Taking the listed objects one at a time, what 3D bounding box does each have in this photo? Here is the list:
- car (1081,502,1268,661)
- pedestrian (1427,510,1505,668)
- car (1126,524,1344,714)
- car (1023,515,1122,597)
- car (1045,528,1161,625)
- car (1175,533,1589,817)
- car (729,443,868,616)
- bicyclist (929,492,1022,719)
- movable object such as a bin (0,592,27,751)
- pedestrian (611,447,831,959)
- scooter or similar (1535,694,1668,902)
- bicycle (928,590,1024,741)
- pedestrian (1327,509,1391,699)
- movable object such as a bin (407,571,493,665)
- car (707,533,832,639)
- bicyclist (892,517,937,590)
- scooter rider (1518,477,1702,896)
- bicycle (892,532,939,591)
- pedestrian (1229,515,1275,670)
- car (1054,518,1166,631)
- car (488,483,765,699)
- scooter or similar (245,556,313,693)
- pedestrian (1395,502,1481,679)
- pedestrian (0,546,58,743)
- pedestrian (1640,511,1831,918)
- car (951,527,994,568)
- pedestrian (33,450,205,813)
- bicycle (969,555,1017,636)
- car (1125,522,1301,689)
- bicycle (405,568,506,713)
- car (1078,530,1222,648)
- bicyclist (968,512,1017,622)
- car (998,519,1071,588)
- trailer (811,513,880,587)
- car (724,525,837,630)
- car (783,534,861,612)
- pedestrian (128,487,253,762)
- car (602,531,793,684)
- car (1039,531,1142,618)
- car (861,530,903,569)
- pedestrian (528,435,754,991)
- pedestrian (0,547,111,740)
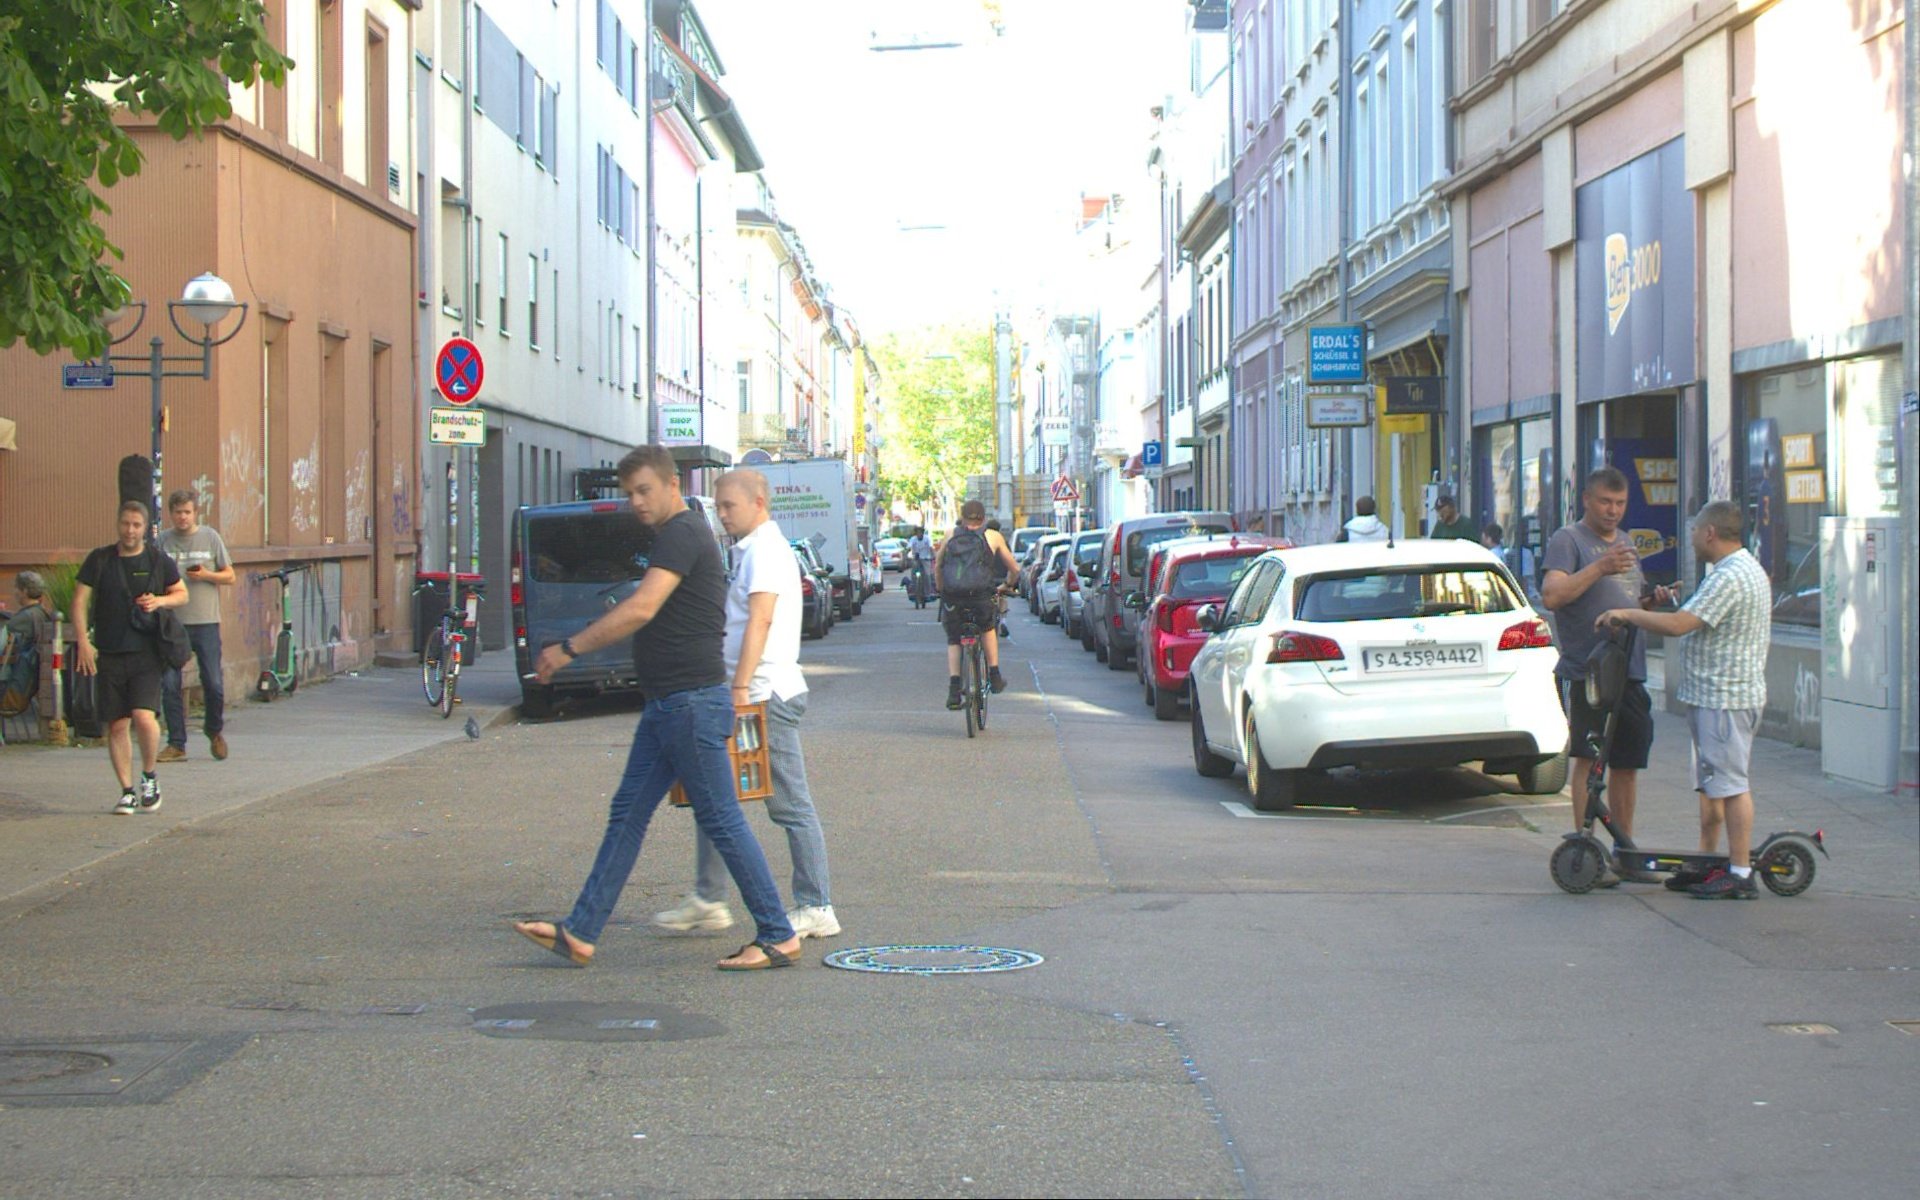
[{"bbox_3d":[2.512,-0.232,41.132,1.899,1.787,4.315,1,1,-1],"label":"car"},{"bbox_3d":[4.930,-0.109,33.508,0.587,1.524,0.659,1,0,-6],"label":"pedestrian"},{"bbox_3d":[2.391,0.140,30.615,1.606,1.567,3.554,1,1,0],"label":"car"},{"bbox_3d":[2.370,-0.952,73.294,1.918,1.700,4.366,0,1,-1],"label":"car"},{"bbox_3d":[2.423,-0.414,59.258,1.696,1.538,4.629,-2,1,-1],"label":"car"},{"bbox_3d":[2.404,0.382,20.585,1.787,1.511,4.137,1,1,-2],"label":"car"},{"bbox_3d":[-3.260,-1.421,70.899,2.343,3.280,7.154,-2,1,0],"label":"car"},{"bbox_3d":[0.109,0.034,25.908,0.667,1.671,1.097,1,0,-1],"label":"bicyclist"},{"bbox_3d":[-6.999,0.486,23.769,0.870,1.083,0.774,1,0,1],"label":"movable object such as a bin"},{"bbox_3d":[-0.870,0.367,12.687,0.761,1.829,0.688,1,0,-2],"label":"pedestrian"},{"bbox_3d":[2.745,0.837,14.758,0.393,0.825,0.926,1,1,0],"label":"scooter or similar"},{"bbox_3d":[0.108,0.471,25.922,0.677,1.071,1.942,1,1,-1],"label":"bicycle"},{"bbox_3d":[3.693,0.033,31.813,0.561,1.734,0.427,1,0,7],"label":"pedestrian"},{"bbox_3d":[-5.926,0.202,39.944,0.760,1.063,0.651,1,0,20],"label":"movable object such as a bin"},{"bbox_3d":[-2.985,-0.256,54.517,1.716,1.473,4.499,-3,2,-1],"label":"car"},{"bbox_3d":[-1.043,-1.068,78.739,0.950,1.622,0.953,-2,1,1],"label":"bicyclist"},{"bbox_3d":[2.829,0.360,14.949,0.564,1.772,0.610,1,0,35],"label":"scooter rider"},{"bbox_3d":[-1.021,-0.891,79.236,0.977,1.310,2.555,-2,1,1],"label":"bicycle"},{"bbox_3d":[3.238,-0.084,38.174,0.441,1.698,0.654,1,0,0],"label":"pedestrian"},{"bbox_3d":[2.344,-0.414,54.465,1.556,1.706,3.559,1,1,-1],"label":"car"},{"bbox_3d":[-3.085,-0.148,32.889,2.020,1.873,5.297,1,1,1],"label":"car"},{"bbox_3d":[-6.192,0.210,31.313,0.347,1.212,1.392,1,1,-1],"label":"scooter or similar"},{"bbox_3d":[4.762,-0.098,34.260,0.628,1.734,0.659,1,0,-13],"label":"pedestrian"},{"bbox_3d":[-7.130,0.323,25.499,0.705,1.440,0.617,1,0,-1],"label":"pedestrian"},{"bbox_3d":[3.192,0.455,14.148,0.528,1.633,0.564,1,1,44],"label":"pedestrian"},{"bbox_3d":[0.462,-2.014,130.748,1.611,1.554,3.610,0,1,0],"label":"car"},{"bbox_3d":[-4.423,0.160,18.119,0.716,1.867,0.720,1,0,-1],"label":"pedestrian"},{"bbox_3d":[0.466,-0.072,49.476,0.648,1.125,2.136,1,1,0],"label":"bicycle"},{"bbox_3d":[2.552,0.038,35.268,1.570,1.551,3.314,-3,0,2],"label":"car"},{"bbox_3d":[-4.412,0.333,29.968,0.550,1.212,1.989,1,1,-17],"label":"bicycle"},{"bbox_3d":[2.523,-0.162,46.290,1.552,1.506,3.612,1,1,-3],"label":"car"},{"bbox_3d":[0.464,-0.480,49.534,0.671,1.562,0.716,1,0,0],"label":"bicyclist"},{"bbox_3d":[2.074,-1.316,97.040,1.750,1.872,3.973,-1,1,-3],"label":"car"},{"bbox_3d":[-3.320,-1.450,100.376,1.882,2.085,3.737,-1,1,0],"label":"trailer"},{"bbox_3d":[-3.103,-0.422,60.003,1.716,1.644,4.246,-3,2,-1],"label":"car"},{"bbox_3d":[-3.392,-0.668,84.938,1.752,1.810,4.078,-2,1,-1],"label":"car"},{"bbox_3d":[-5.240,0.163,23.433,0.646,1.827,0.697,2,0,-1],"label":"pedestrian"},{"bbox_3d":[-2.875,0.065,38.281,1.750,1.517,3.869,-3,0,0],"label":"car"},{"bbox_3d":[2.434,-0.491,64.936,1.686,1.538,4.046,-2,1,-1],"label":"car"},{"bbox_3d":[-3.481,-2.261,153.795,1.750,1.678,3.796,-1,1,0],"label":"car"},{"bbox_3d":[-1.076,0.367,11.776,0.693,1.819,1.003,1,0,-2],"label":"pedestrian"},{"bbox_3d":[-6.891,0.325,26.137,0.705,1.440,0.617,1,0,-1],"label":"pedestrian"}]
